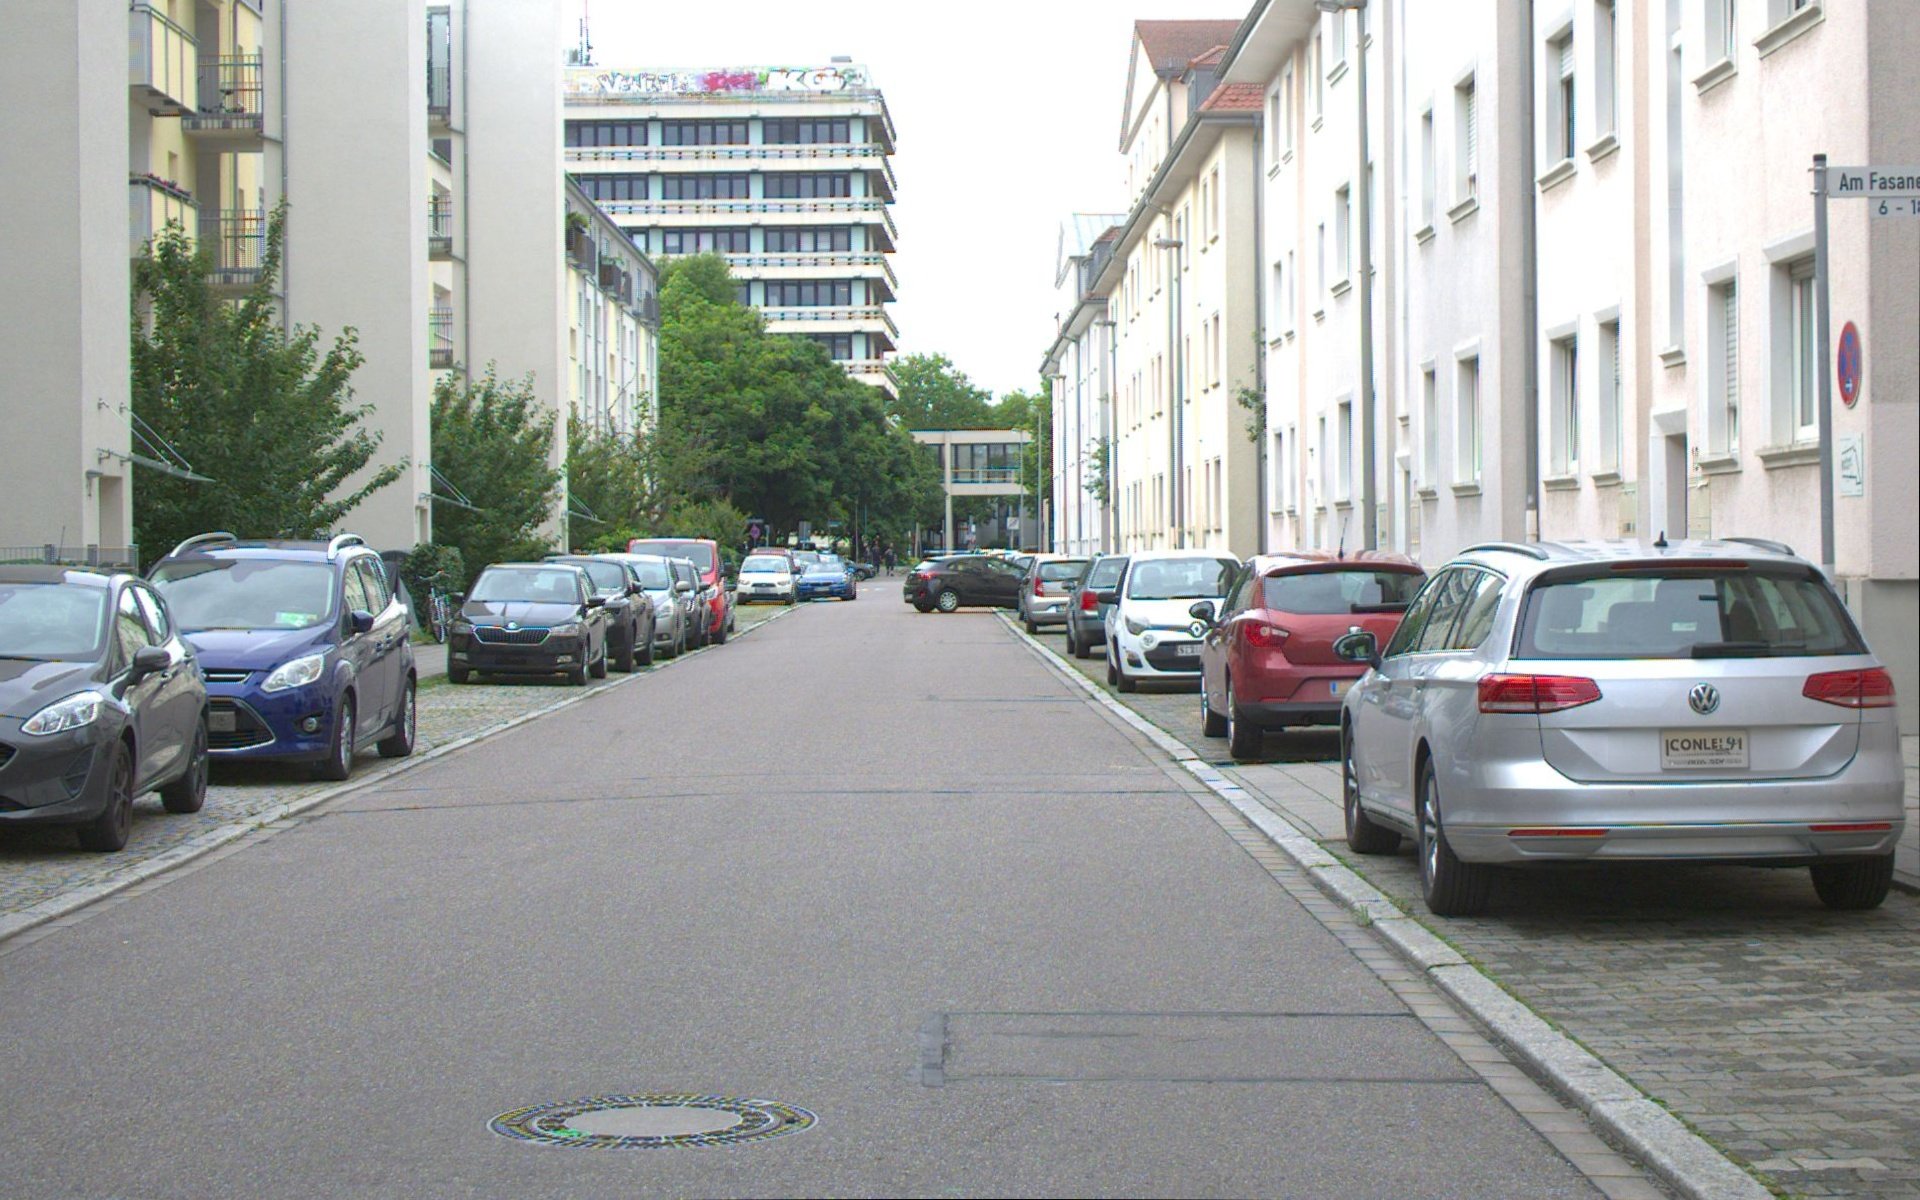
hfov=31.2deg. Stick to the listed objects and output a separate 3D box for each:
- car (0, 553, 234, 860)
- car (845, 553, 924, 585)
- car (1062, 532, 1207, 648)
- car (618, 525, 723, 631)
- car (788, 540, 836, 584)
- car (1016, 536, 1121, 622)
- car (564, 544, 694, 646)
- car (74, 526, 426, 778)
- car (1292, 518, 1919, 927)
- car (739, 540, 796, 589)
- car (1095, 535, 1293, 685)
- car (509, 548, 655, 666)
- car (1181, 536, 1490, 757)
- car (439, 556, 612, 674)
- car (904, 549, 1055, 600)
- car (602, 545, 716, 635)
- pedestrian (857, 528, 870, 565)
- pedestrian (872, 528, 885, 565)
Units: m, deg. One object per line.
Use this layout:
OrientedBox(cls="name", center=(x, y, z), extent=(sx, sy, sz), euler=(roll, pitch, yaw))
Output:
OrientedBox(cls="car", center=(-5.287, 0.492, 18.924), extent=(1.830, 1.454, 4.260), euler=(1, 1, -2))
OrientedBox(cls="car", center=(-3.906, -1.607, 178.292), extent=(3.987, 1.481, 2.000), euler=(2, 1, 0))
OrientedBox(cls="car", center=(2.448, -0.174, 49.017), extent=(1.819, 1.571, 3.753), euler=(1, 1, -1))
OrientedBox(cls="car", center=(-5.403, -0.440, 64.528), extent=(1.671, 1.931, 3.742), euler=(1, 1, -1))
OrientedBox(cls="car", center=(-5.002, -1.300, 116.024), extent=(1.539, 1.445, 3.742), euler=(0, 1, -3))
OrientedBox(cls="car", center=(2.046, -0.428, 65.653), extent=(1.819, 1.571, 3.884), euler=(1, 1, -1))
OrientedBox(cls="car", center=(-5.192, -0.109, 54.275), extent=(1.671, 1.520, 4.253), euler=(1, 1, -1))
OrientedBox(cls="car", center=(-4.981, 0.296, 24.665), extent=(1.769, 1.637, 4.355), euler=(1, 1, -2))
OrientedBox(cls="car", center=(2.596, 0.397, 14.721), extent=(1.755, 1.462, 4.601), euler=(1, 1, -2))
OrientedBox(cls="car", center=(-5.888, -1.111, 105.406), extent=(1.539, 1.445, 3.742), euler=(1, 1, -1))
OrientedBox(cls="car", center=(2.461, 0.067, 36.911), extent=(1.819, 1.499, 3.753), euler=(1, 1, -1))
OrientedBox(cls="car", center=(-5.263, 0.068, 48.261), extent=(1.671, 1.558, 3.664), euler=(1, 1, -1))
OrientedBox(cls="car", center=(2.644, 0.272, 25.006), extent=(1.670, 1.415, 4.000), euler=(-2, 1, -1))
OrientedBox(cls="car", center=(-5.325, 0.150, 42.513), extent=(1.671, 1.347, 3.817), euler=(1, 1, -1))
OrientedBox(cls="car", center=(0.498, -0.635, 85.714), extent=(3.729, 1.210, 1.544), euler=(1, 1, 1))
OrientedBox(cls="car", center=(-5.173, -0.195, 59.428), extent=(1.671, 1.482, 3.742), euler=(1, 1, -1))
OrientedBox(cls="pedestrian", center=(-5.240, -2.904, 187.413), extent=(0.629, 2.007, 0.683), euler=(2, 1, -1))
OrientedBox(cls="pedestrian", center=(-4.475, -2.927, 188.935), extent=(0.629, 2.007, 0.683), euler=(2, 1, -1))
